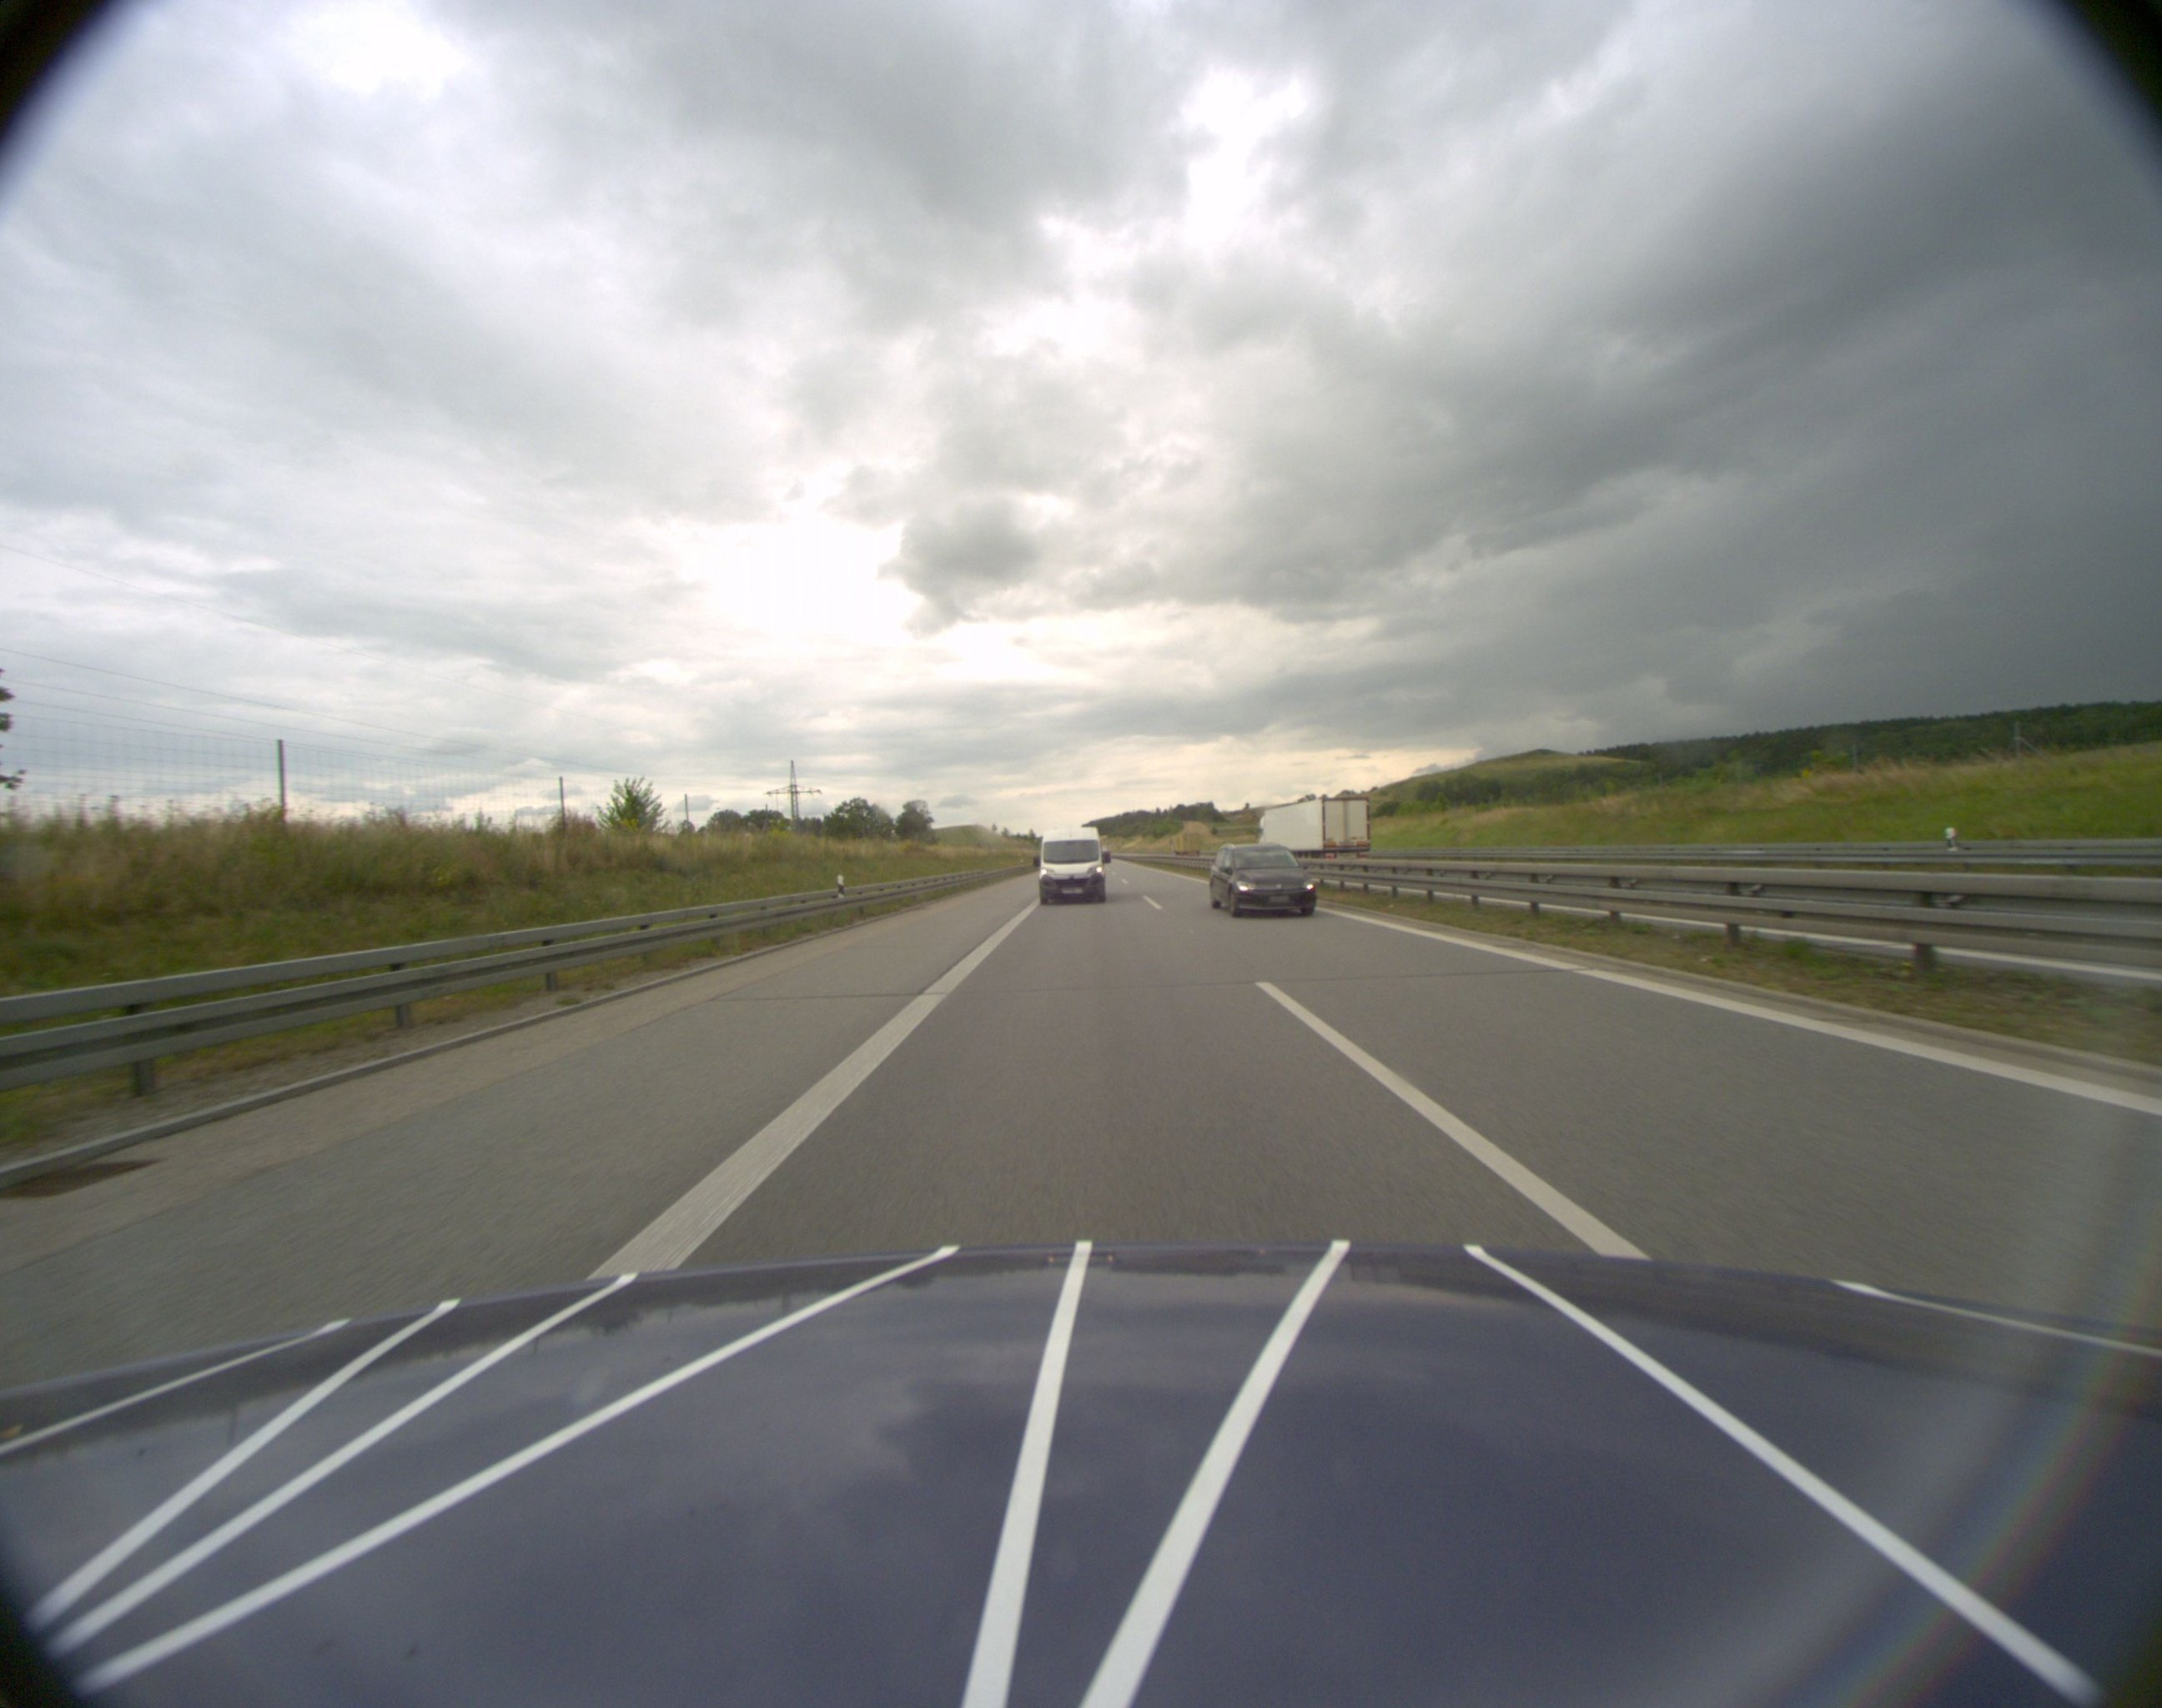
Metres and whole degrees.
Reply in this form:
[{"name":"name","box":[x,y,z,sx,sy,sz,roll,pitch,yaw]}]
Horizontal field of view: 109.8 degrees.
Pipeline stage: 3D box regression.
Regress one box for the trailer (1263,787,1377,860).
[{"name":"trailer","box":[14.946,-1.685,49.202,2.925,3.902,14.274,-2,0,1]}]

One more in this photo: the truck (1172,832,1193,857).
[{"name":"truck","box":[16.646,-1.581,124.863,2.599,3.902,5.587,-2,0,1]}]

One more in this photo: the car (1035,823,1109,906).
[{"name":"car","box":[-0.212,0.326,26.018,2.132,2.411,6.112,-2,0,1]}]

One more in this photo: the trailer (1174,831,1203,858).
[{"name":"trailer","box":[16.558,-1.433,118.214,2.596,3.902,13.701,-2,0,1]}]

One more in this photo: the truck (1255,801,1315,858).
[{"name":"truck","box":[15.039,-1.705,56.439,2.959,3.902,5.518,-2,0,1]}]

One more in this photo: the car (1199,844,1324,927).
[{"name":"car","box":[4.200,0.638,18.614,1.901,1.661,5.397,-2,0,2]}]
